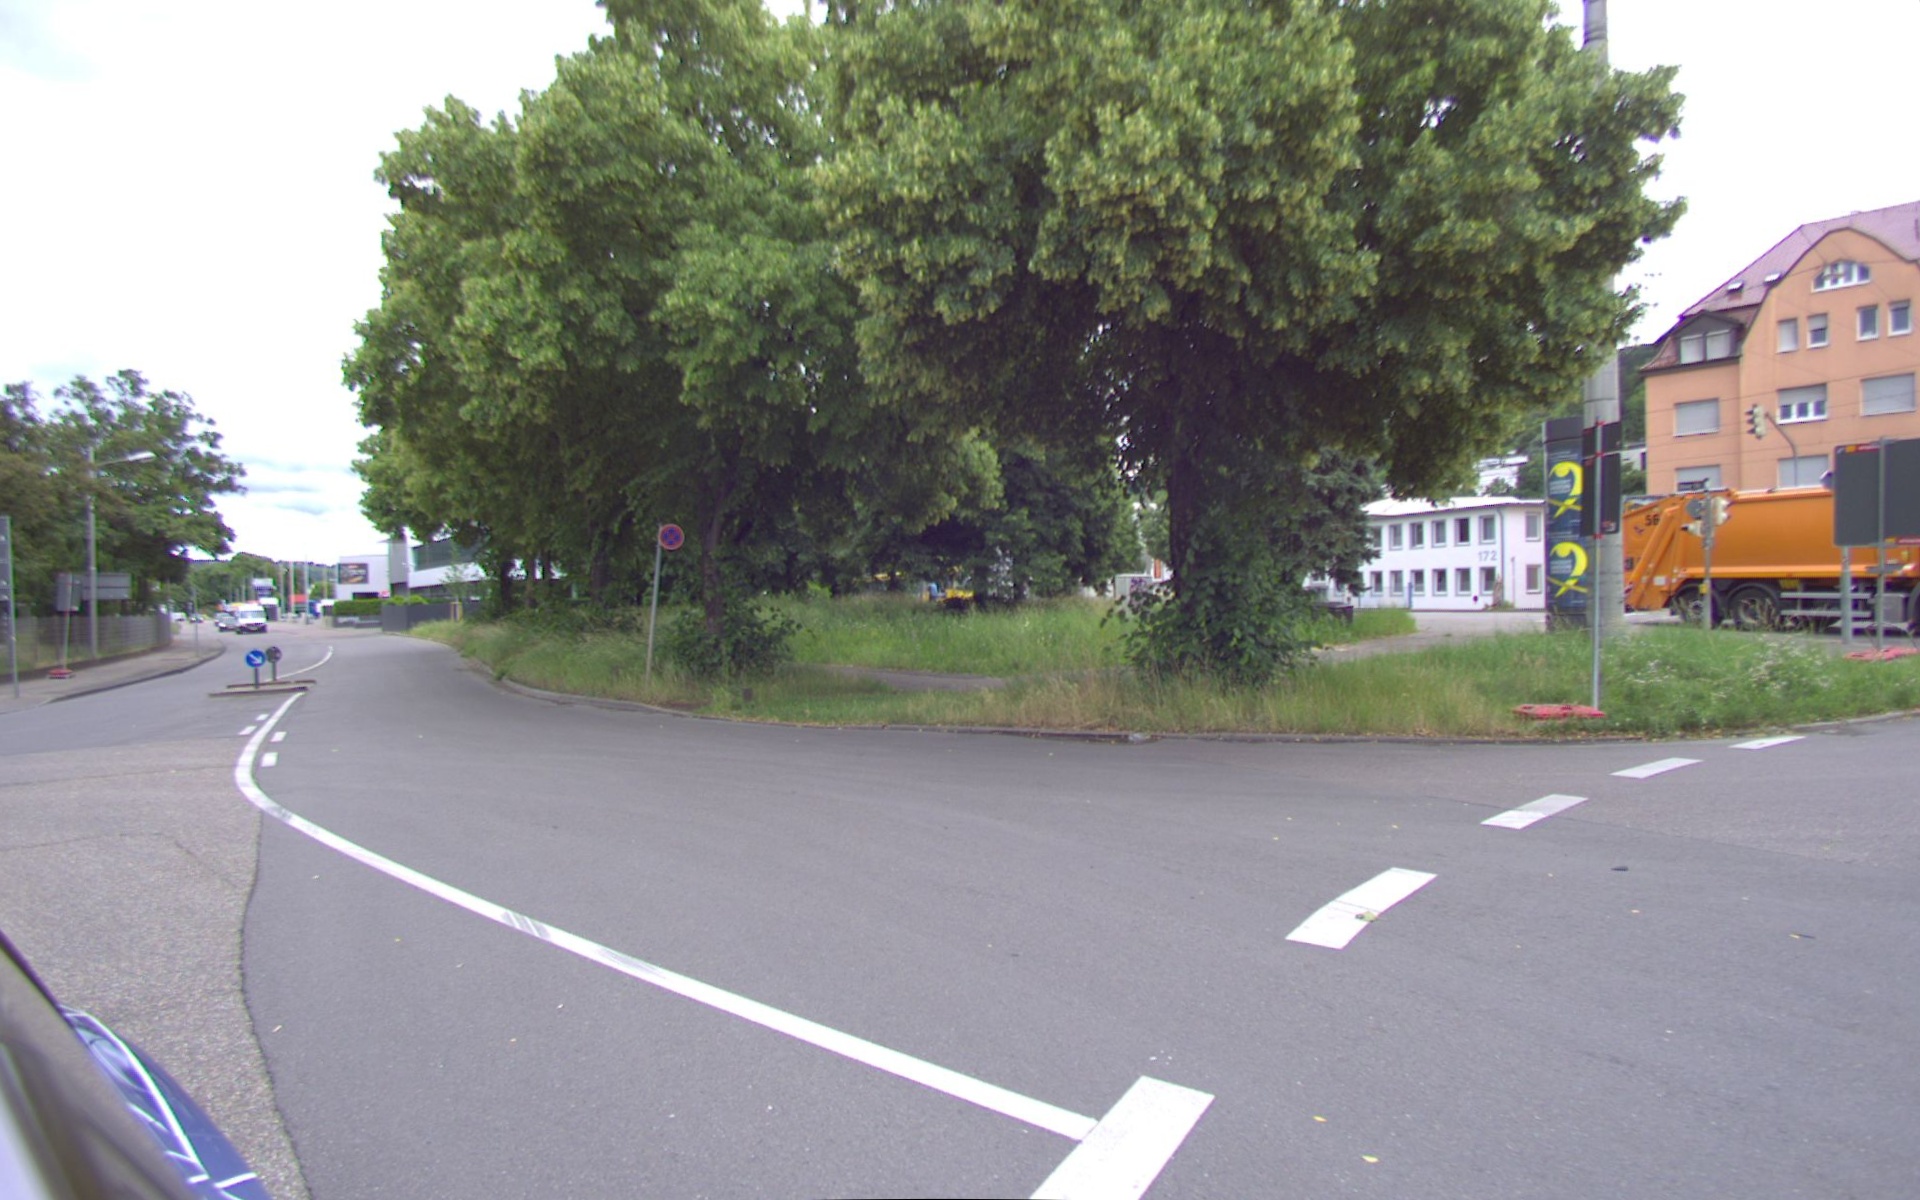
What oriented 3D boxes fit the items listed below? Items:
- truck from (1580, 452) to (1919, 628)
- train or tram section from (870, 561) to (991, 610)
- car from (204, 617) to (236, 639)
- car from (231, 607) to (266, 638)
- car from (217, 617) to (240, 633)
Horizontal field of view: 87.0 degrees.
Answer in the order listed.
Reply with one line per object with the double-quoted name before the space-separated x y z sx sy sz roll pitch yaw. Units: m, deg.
"truck" 19.918 -1.294 23.143 2.750 3.553 10.455 -2 2 -19
"train or tram section" -3.014 -1.093 86.798 3.221 3.693 19.238 -2 0 -24
"car" -71.375 2.694 97.653 2.350 1.884 5.219 -3 1 -35
"car" -62.562 1.955 88.987 2.350 2.477 6.115 -3 1 -35
"car" -96.450 3.275 133.467 2.350 1.884 5.219 -3 1 -35
